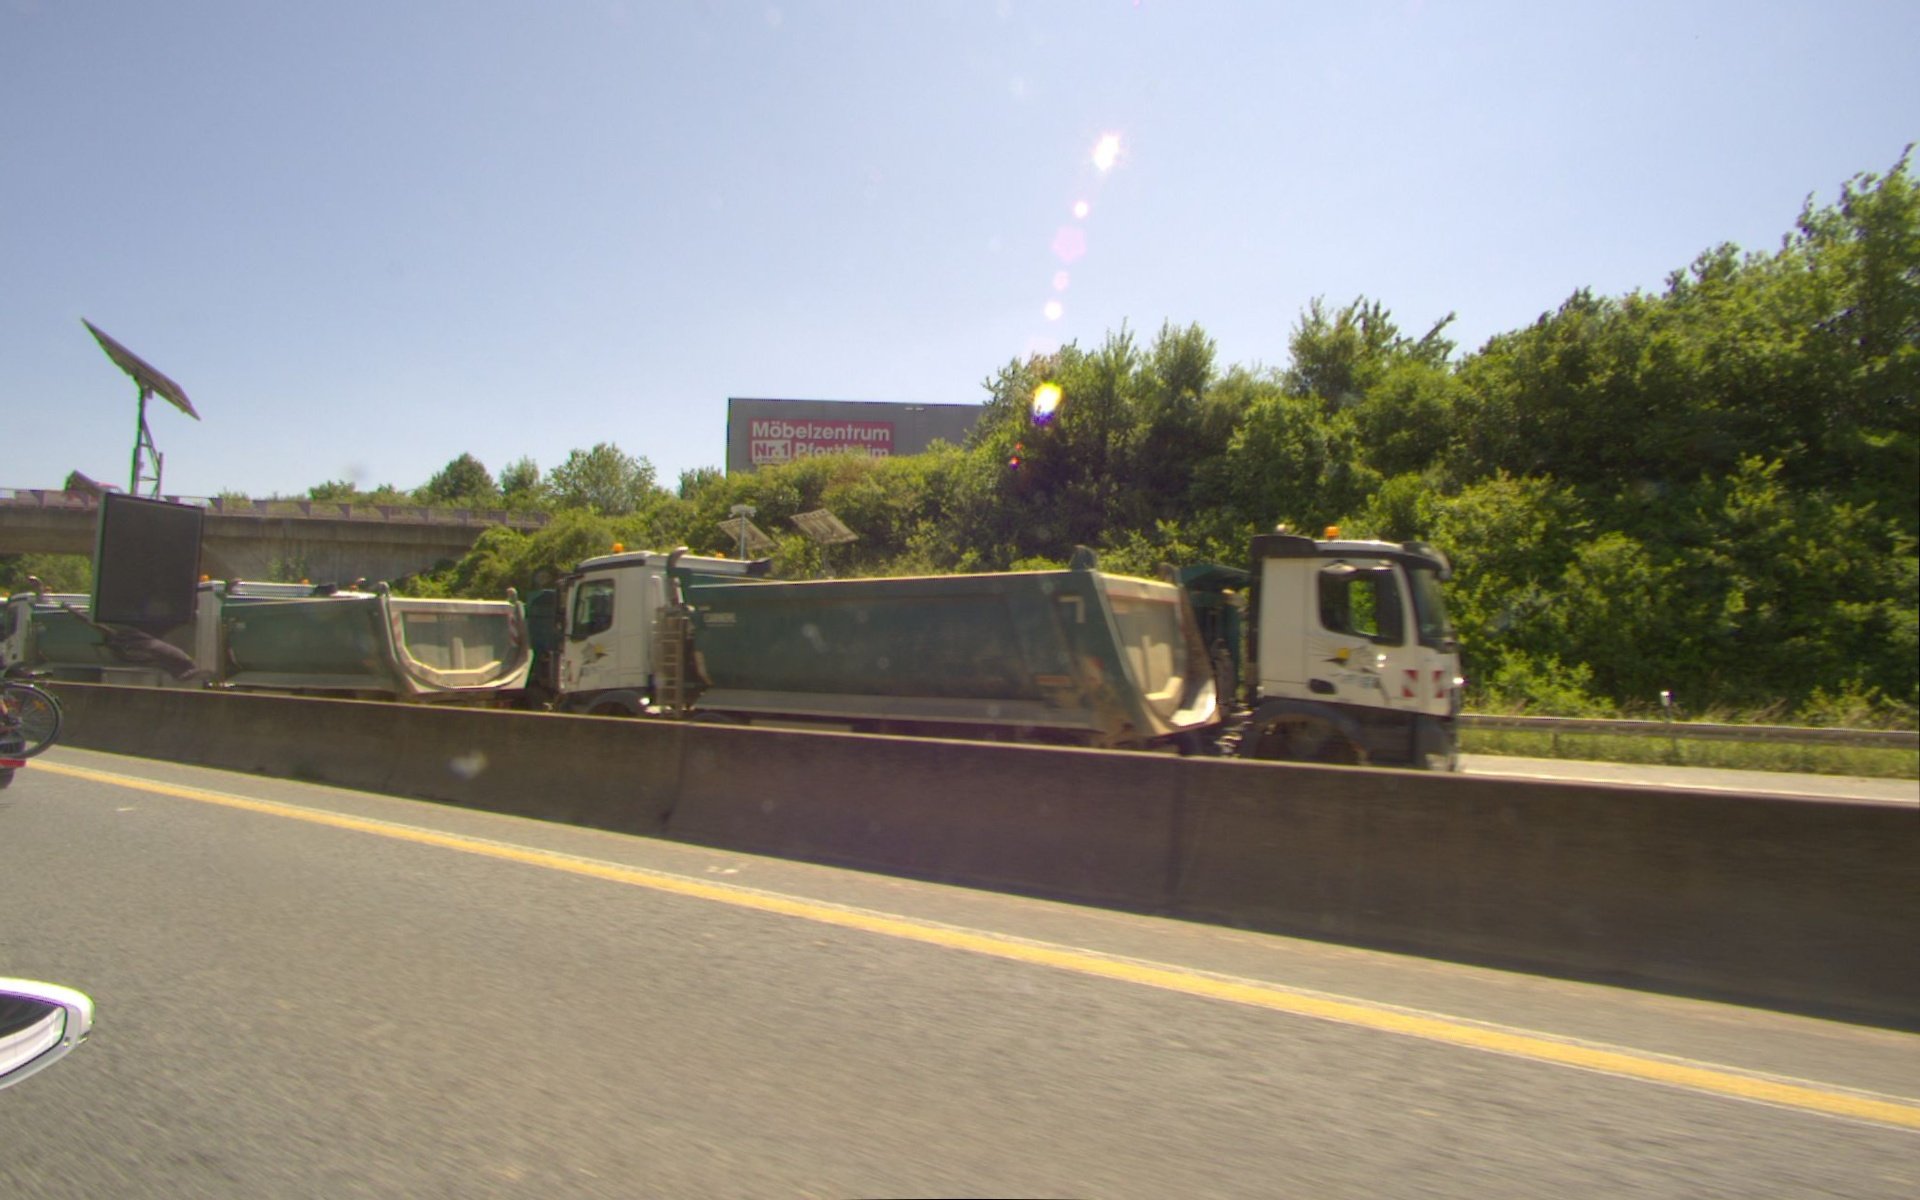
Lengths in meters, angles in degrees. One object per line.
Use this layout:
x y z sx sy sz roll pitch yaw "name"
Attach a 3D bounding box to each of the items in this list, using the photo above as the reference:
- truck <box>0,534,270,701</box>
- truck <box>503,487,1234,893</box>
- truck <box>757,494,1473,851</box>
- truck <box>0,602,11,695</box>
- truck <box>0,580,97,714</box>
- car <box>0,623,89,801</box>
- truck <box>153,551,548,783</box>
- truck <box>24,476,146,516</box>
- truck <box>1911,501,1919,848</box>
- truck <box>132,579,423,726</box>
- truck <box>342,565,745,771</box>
-21.214 0.490 25.263 9.188 3.602 2.684 -1 -2 31 "truck"
-1.637 0.910 12.575 9.465 3.602 2.683 -1 -2 32 "truck"
1.652 0.841 13.777 9.464 3.602 2.683 -1 -2 32 "truck"
-41.646 1.895 40.247 9.188 3.602 2.684 -1 -2 31 "truck"
-29.419 1.358 29.965 9.188 3.602 2.684 -1 -2 31 "truck"
-10.390 0.992 9.517 4.878 1.509 1.896 -2 -3 33 "car"
-11.960 1.157 19.215 9.273 3.602 2.682 -1 -2 33 "truck"
-52.792 -6.283 60.500 5.408 2.092 1.937 0 -2 -4 "truck"
13.401 0.671 6.938 9.465 3.602 2.683 -1 -2 32 "truck"
-18.458 1.326 26.818 9.461 3.421 2.684 -1 -2 31 "truck"
-8.779 1.250 20.426 9.467 3.421 2.682 -1 -2 33 "truck"
